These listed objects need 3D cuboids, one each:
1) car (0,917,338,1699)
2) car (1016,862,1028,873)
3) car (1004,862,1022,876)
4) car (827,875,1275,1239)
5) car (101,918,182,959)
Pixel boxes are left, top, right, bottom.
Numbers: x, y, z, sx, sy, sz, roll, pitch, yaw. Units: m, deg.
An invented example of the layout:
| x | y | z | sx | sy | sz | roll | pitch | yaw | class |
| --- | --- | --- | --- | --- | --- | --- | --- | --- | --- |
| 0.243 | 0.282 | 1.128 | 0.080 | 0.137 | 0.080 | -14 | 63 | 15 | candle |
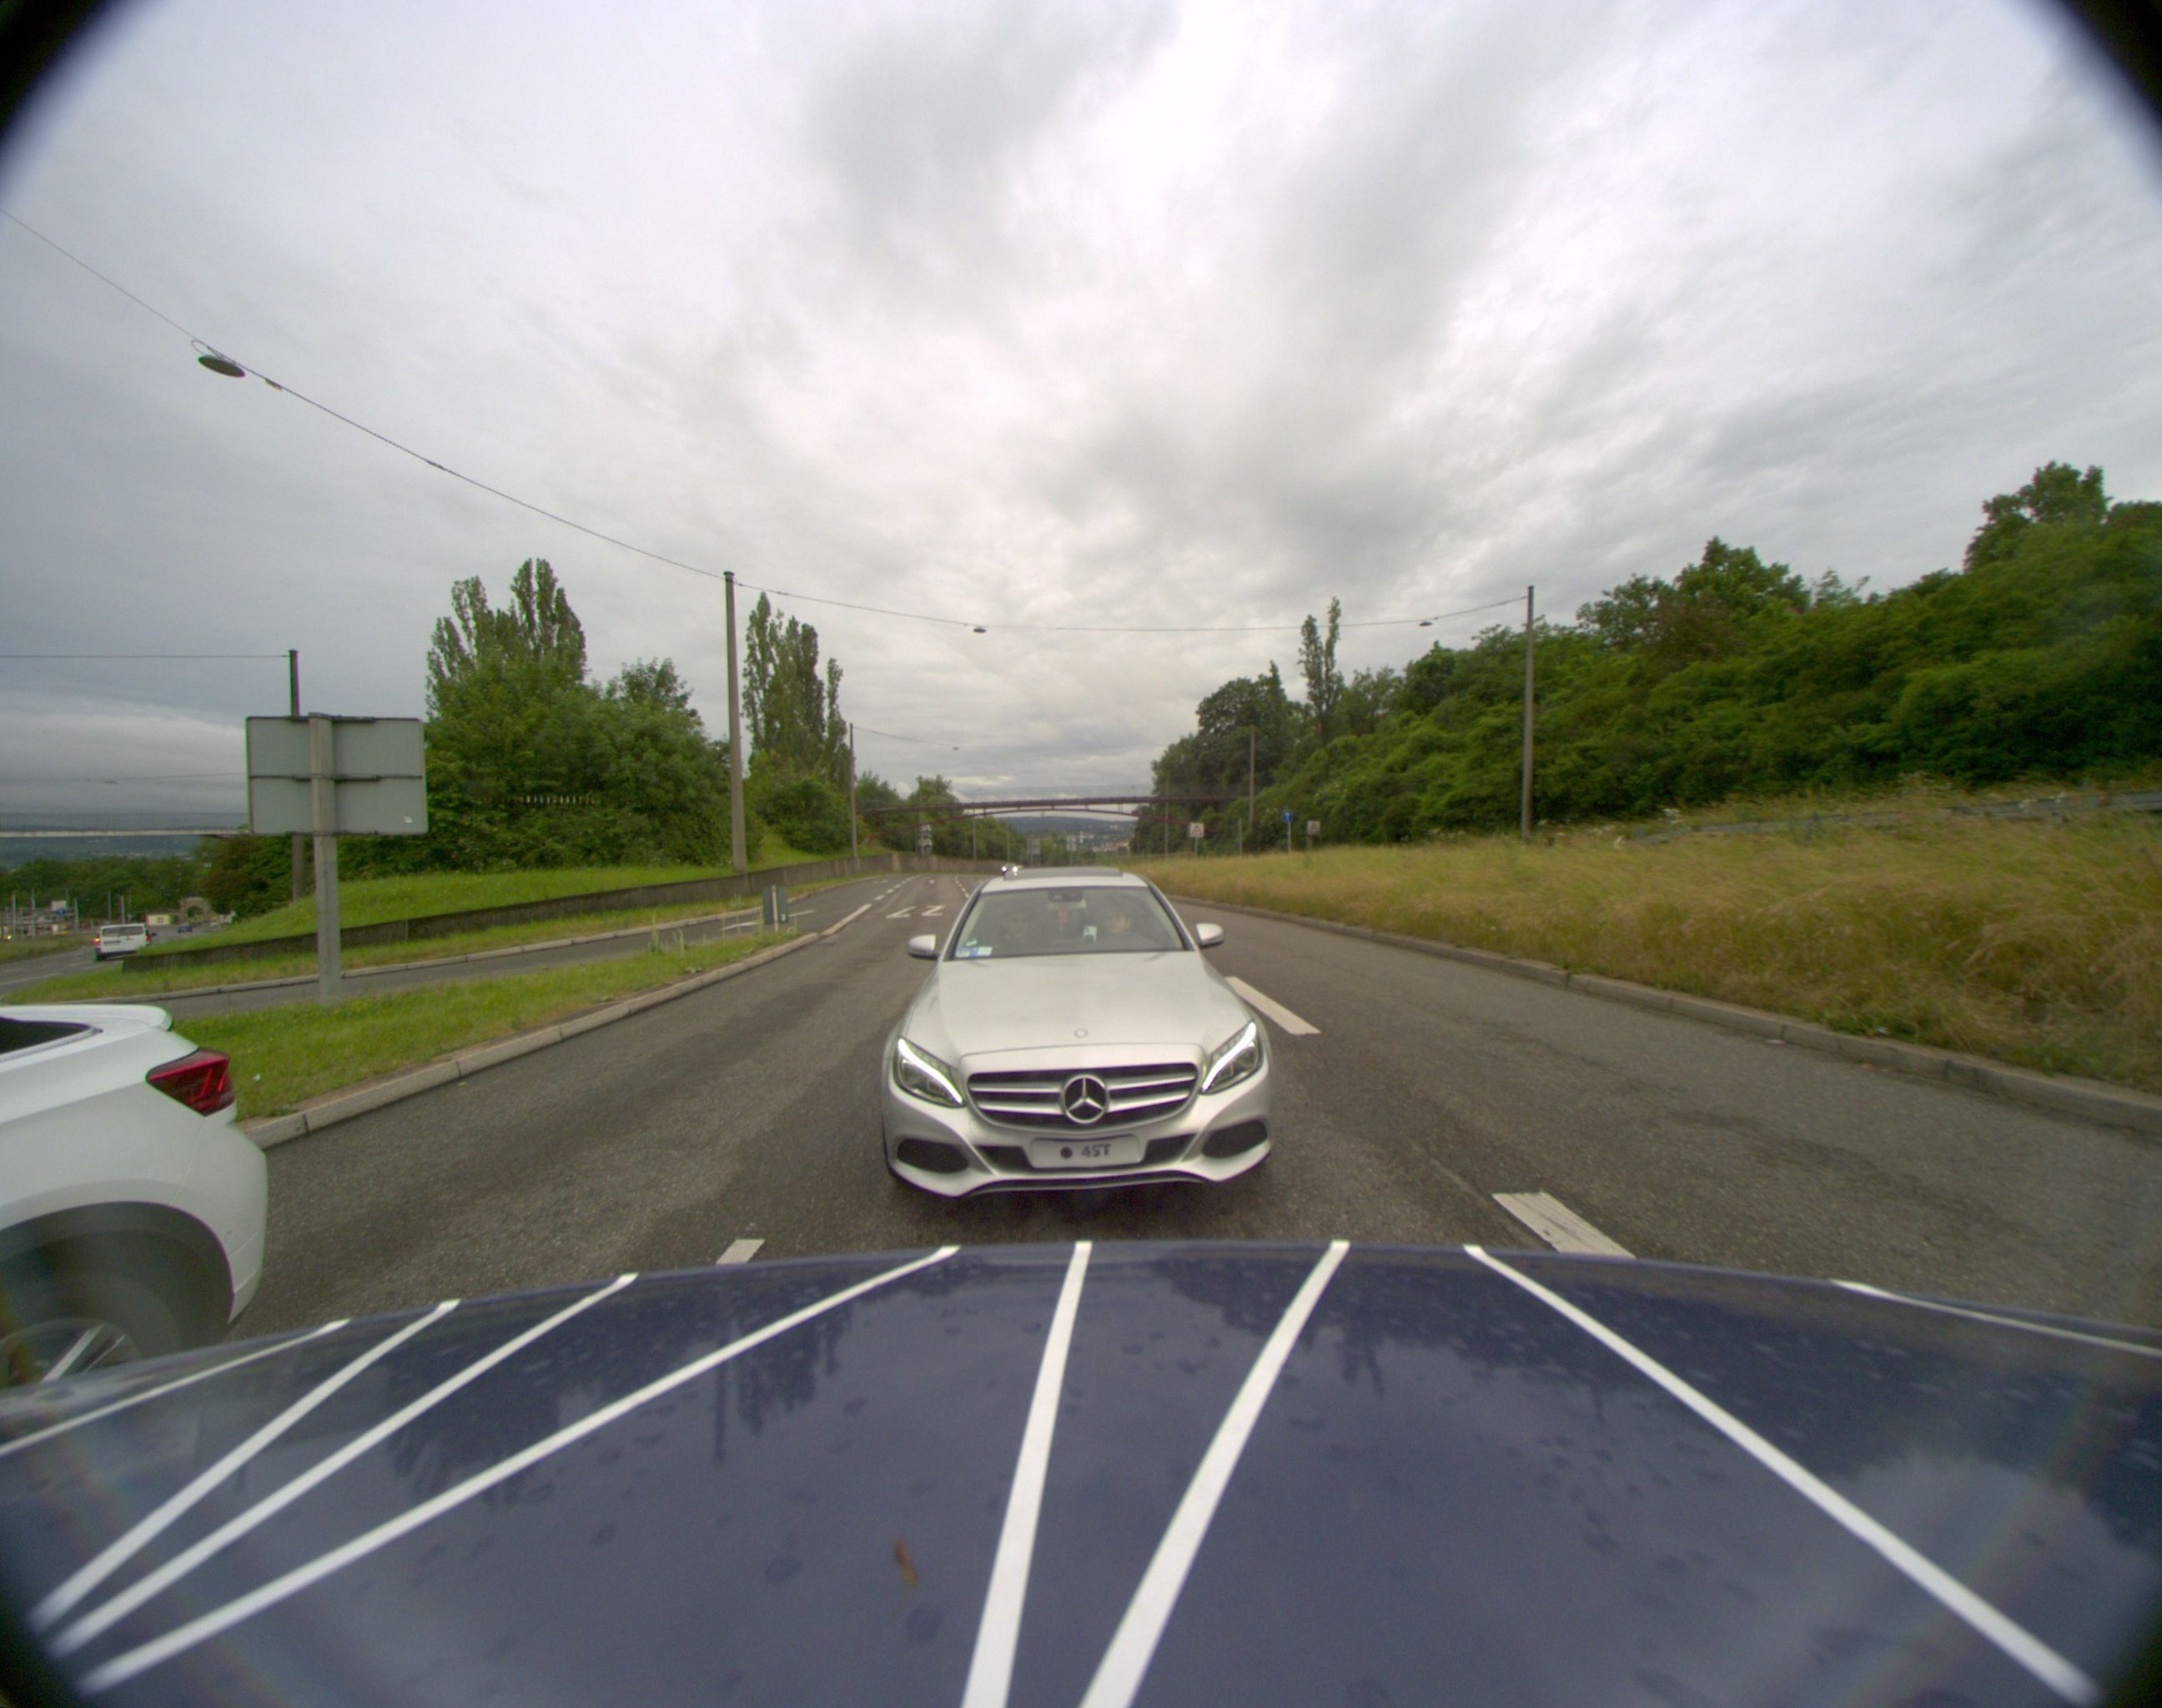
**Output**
| x | y | z | sx | sy | sz | roll | pitch | yaw | class |
| --- | --- | --- | --- | --- | --- | --- | --- | --- | --- |
| -3.085 | 1.026 | 0.135 | 1.718 | 1.544 | 4.228 | -2 | 1 | -1 | car |
| -10.048 | 2.262 | 128.630 | 1.912 | 1.668 | 3.999 | -5 | 0 | -5 | car |
| -9.021 | 2.029 | 100.951 | 1.911 | 1.668 | 4.000 | -5 | 0 | 1 | car |
| -0.006 | 0.942 | 5.327 | 1.894 | 1.361 | 4.135 | -1 | 1 | 4 | car |
| -51.980 | 4.616 | 42.149 | 2.003 | 1.837 | 4.812 | -5 | 0 | -42 | car |
